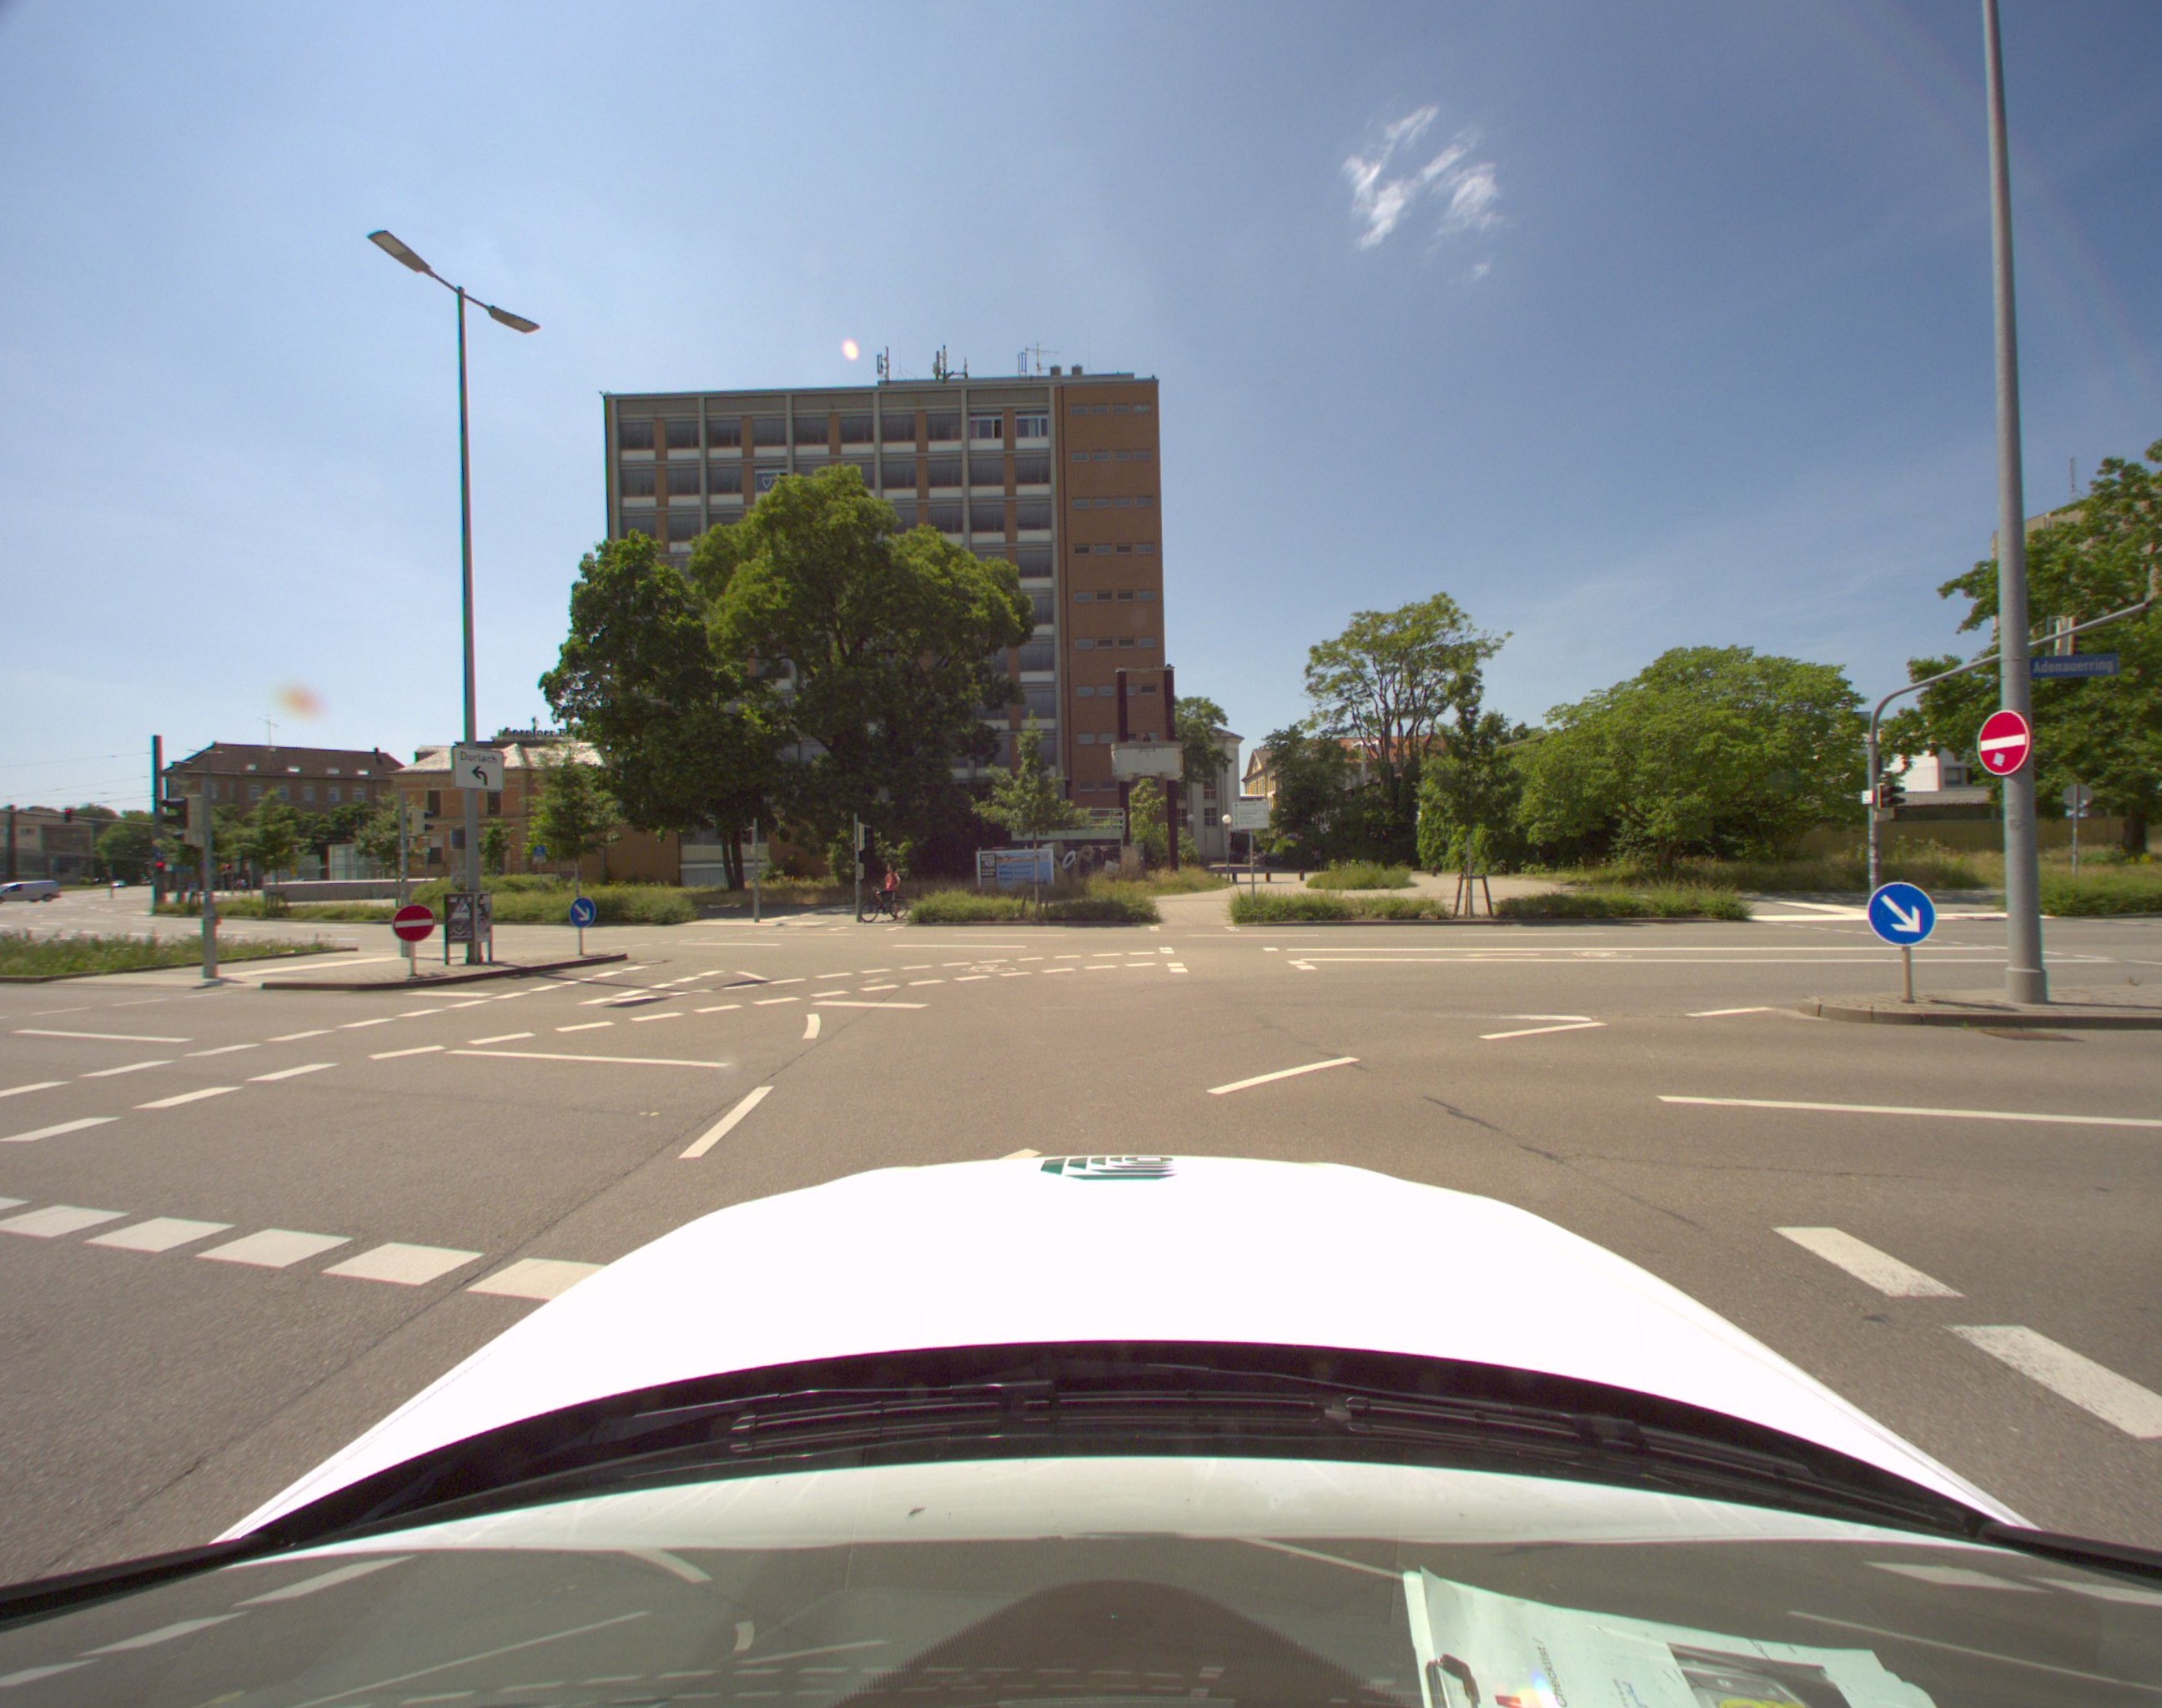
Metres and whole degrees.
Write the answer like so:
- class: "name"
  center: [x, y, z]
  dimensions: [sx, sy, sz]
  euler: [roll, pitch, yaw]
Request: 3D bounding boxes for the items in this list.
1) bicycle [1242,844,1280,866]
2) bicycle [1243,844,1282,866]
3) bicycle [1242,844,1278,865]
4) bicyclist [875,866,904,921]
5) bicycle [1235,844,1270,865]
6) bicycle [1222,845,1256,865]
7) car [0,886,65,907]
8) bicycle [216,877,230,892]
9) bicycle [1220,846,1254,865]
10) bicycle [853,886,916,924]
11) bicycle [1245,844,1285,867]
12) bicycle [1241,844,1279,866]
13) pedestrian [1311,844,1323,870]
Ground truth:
- class: "bicycle"
  center: [16.856, 0.077, 76.347]
  dimensions: [3.431, 2.013, 0.761]
  euler: [1, 0, 4]
- class: "bicycle"
  center: [16.765, 0.119, 75.218]
  dimensions: [3.431, 2.013, 0.761]
  euler: [1, 0, 4]
- class: "bicycle"
  center: [17.640, 0.077, 80.413]
  dimensions: [3.431, 2.013, 0.761]
  euler: [1, 0, 4]
- class: "bicyclist"
  center: [-6.239, 1.280, 26.515]
  dimensions: [0.544, 1.715, 0.707]
  euler: [0, 1, 43]
- class: "bicycle"
  center: [17.330, 0.062, 82.261]
  dimensions: [3.431, 2.013, 0.761]
  euler: [1, 0, 4]
- class: "bicycle"
  center: [16.371, 0.102, 84.367]
  dimensions: [3.431, 2.013, 0.761]
  euler: [1, 0, 4]
- class: "car"
  center: [-92.304, 3.661, 70.985]
  dimensions: [1.797, 1.627, 4.335]
  euler: [1, 0, 12]
- class: "bicycle"
  center: [-106.865, 3.772, 101.425]
  dimensions: [3.140, 1.788, 0.618]
  euler: [1, 0, 31]
- class: "bicycle"
  center: [16.591, 0.129, 86.697]
  dimensions: [3.431, 2.013, 0.761]
  euler: [1, 0, 4]
- class: "bicycle"
  center: [-6.350, 1.628, 26.411]
  dimensions: [0.551, 1.045, 2.009]
  euler: [0, 2, 44]
- class: "bicycle"
  center: [16.681, 0.149, 73.901]
  dimensions: [3.431, 2.013, 0.761]
  euler: [1, 0, 4]
- class: "bicycle"
  center: [17.198, 0.098, 78.221]
  dimensions: [3.431, 2.013, 0.761]
  euler: [1, 0, 4]
- class: "pedestrian"
  center: [15.590, 0.197, 53.825]
  dimensions: [0.636, 1.665, 0.707]
  euler: [1, 0, 1]
